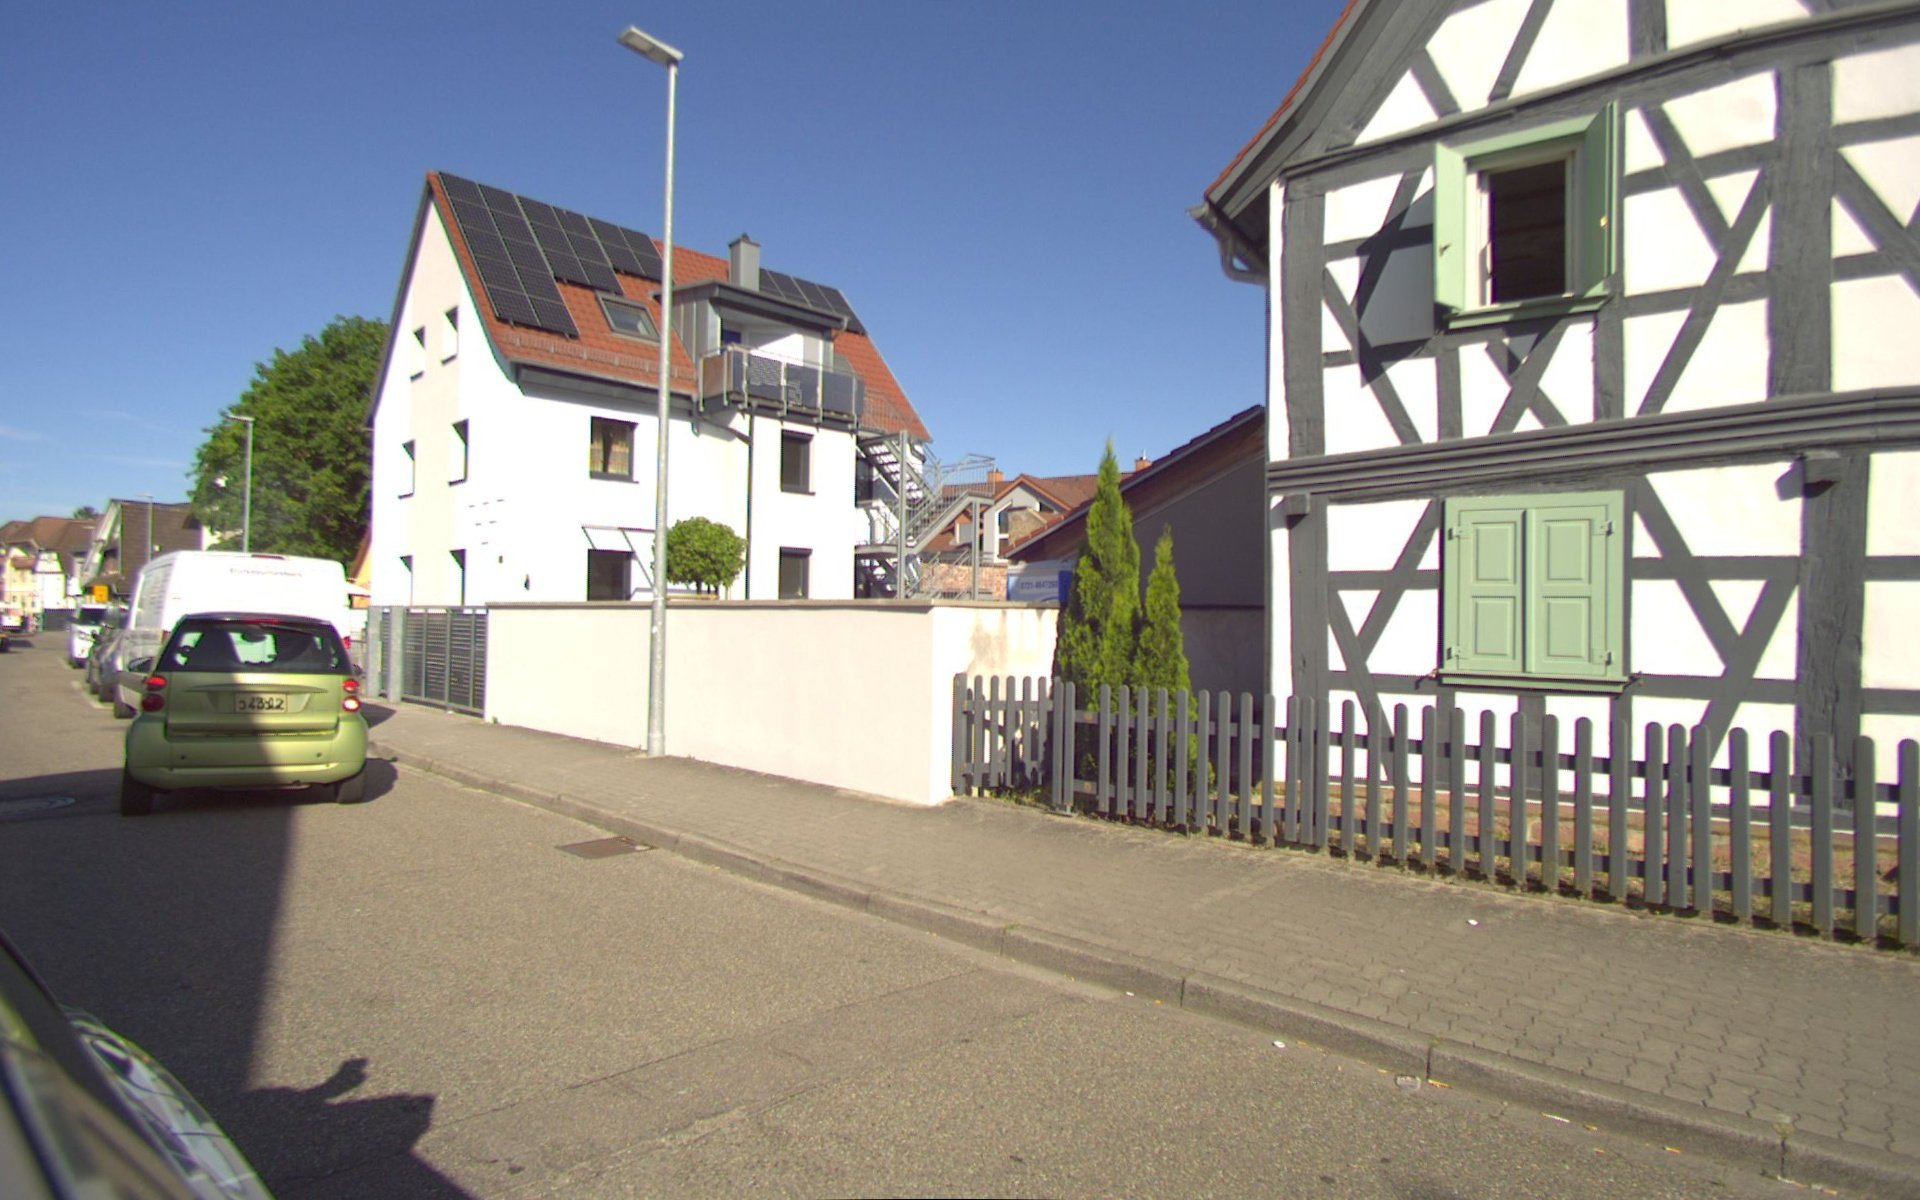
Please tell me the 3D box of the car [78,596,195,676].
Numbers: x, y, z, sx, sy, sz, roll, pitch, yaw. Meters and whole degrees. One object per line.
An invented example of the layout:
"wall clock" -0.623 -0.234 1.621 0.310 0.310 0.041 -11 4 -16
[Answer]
"car" -18.161 0.750 22.270 1.694 1.610 3.929 2 -2 -43

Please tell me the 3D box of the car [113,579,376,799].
"car" -6.248 0.682 8.824 1.553 1.558 2.971 4 -3 -38

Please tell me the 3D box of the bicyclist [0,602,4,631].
"bicyclist" -56.408 0.977 59.182 0.605 1.677 0.634 -1 -3 43

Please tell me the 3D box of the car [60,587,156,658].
"car" -25.437 0.644 30.160 1.880 1.932 5.075 2 -2 -43

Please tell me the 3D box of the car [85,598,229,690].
"car" -15.052 0.777 18.880 1.691 1.516 4.239 3 -3 -43

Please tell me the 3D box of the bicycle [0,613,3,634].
"bicycle" -56.310 1.355 58.958 2.022 1.191 0.631 0 4 43

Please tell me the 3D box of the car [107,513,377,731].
"car" -10.223 0.318 14.142 2.171 2.408 6.069 3 -3 -43

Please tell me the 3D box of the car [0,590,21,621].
"car" -77.425 0.439 81.453 5.515 2.489 2.228 0 -2 42
